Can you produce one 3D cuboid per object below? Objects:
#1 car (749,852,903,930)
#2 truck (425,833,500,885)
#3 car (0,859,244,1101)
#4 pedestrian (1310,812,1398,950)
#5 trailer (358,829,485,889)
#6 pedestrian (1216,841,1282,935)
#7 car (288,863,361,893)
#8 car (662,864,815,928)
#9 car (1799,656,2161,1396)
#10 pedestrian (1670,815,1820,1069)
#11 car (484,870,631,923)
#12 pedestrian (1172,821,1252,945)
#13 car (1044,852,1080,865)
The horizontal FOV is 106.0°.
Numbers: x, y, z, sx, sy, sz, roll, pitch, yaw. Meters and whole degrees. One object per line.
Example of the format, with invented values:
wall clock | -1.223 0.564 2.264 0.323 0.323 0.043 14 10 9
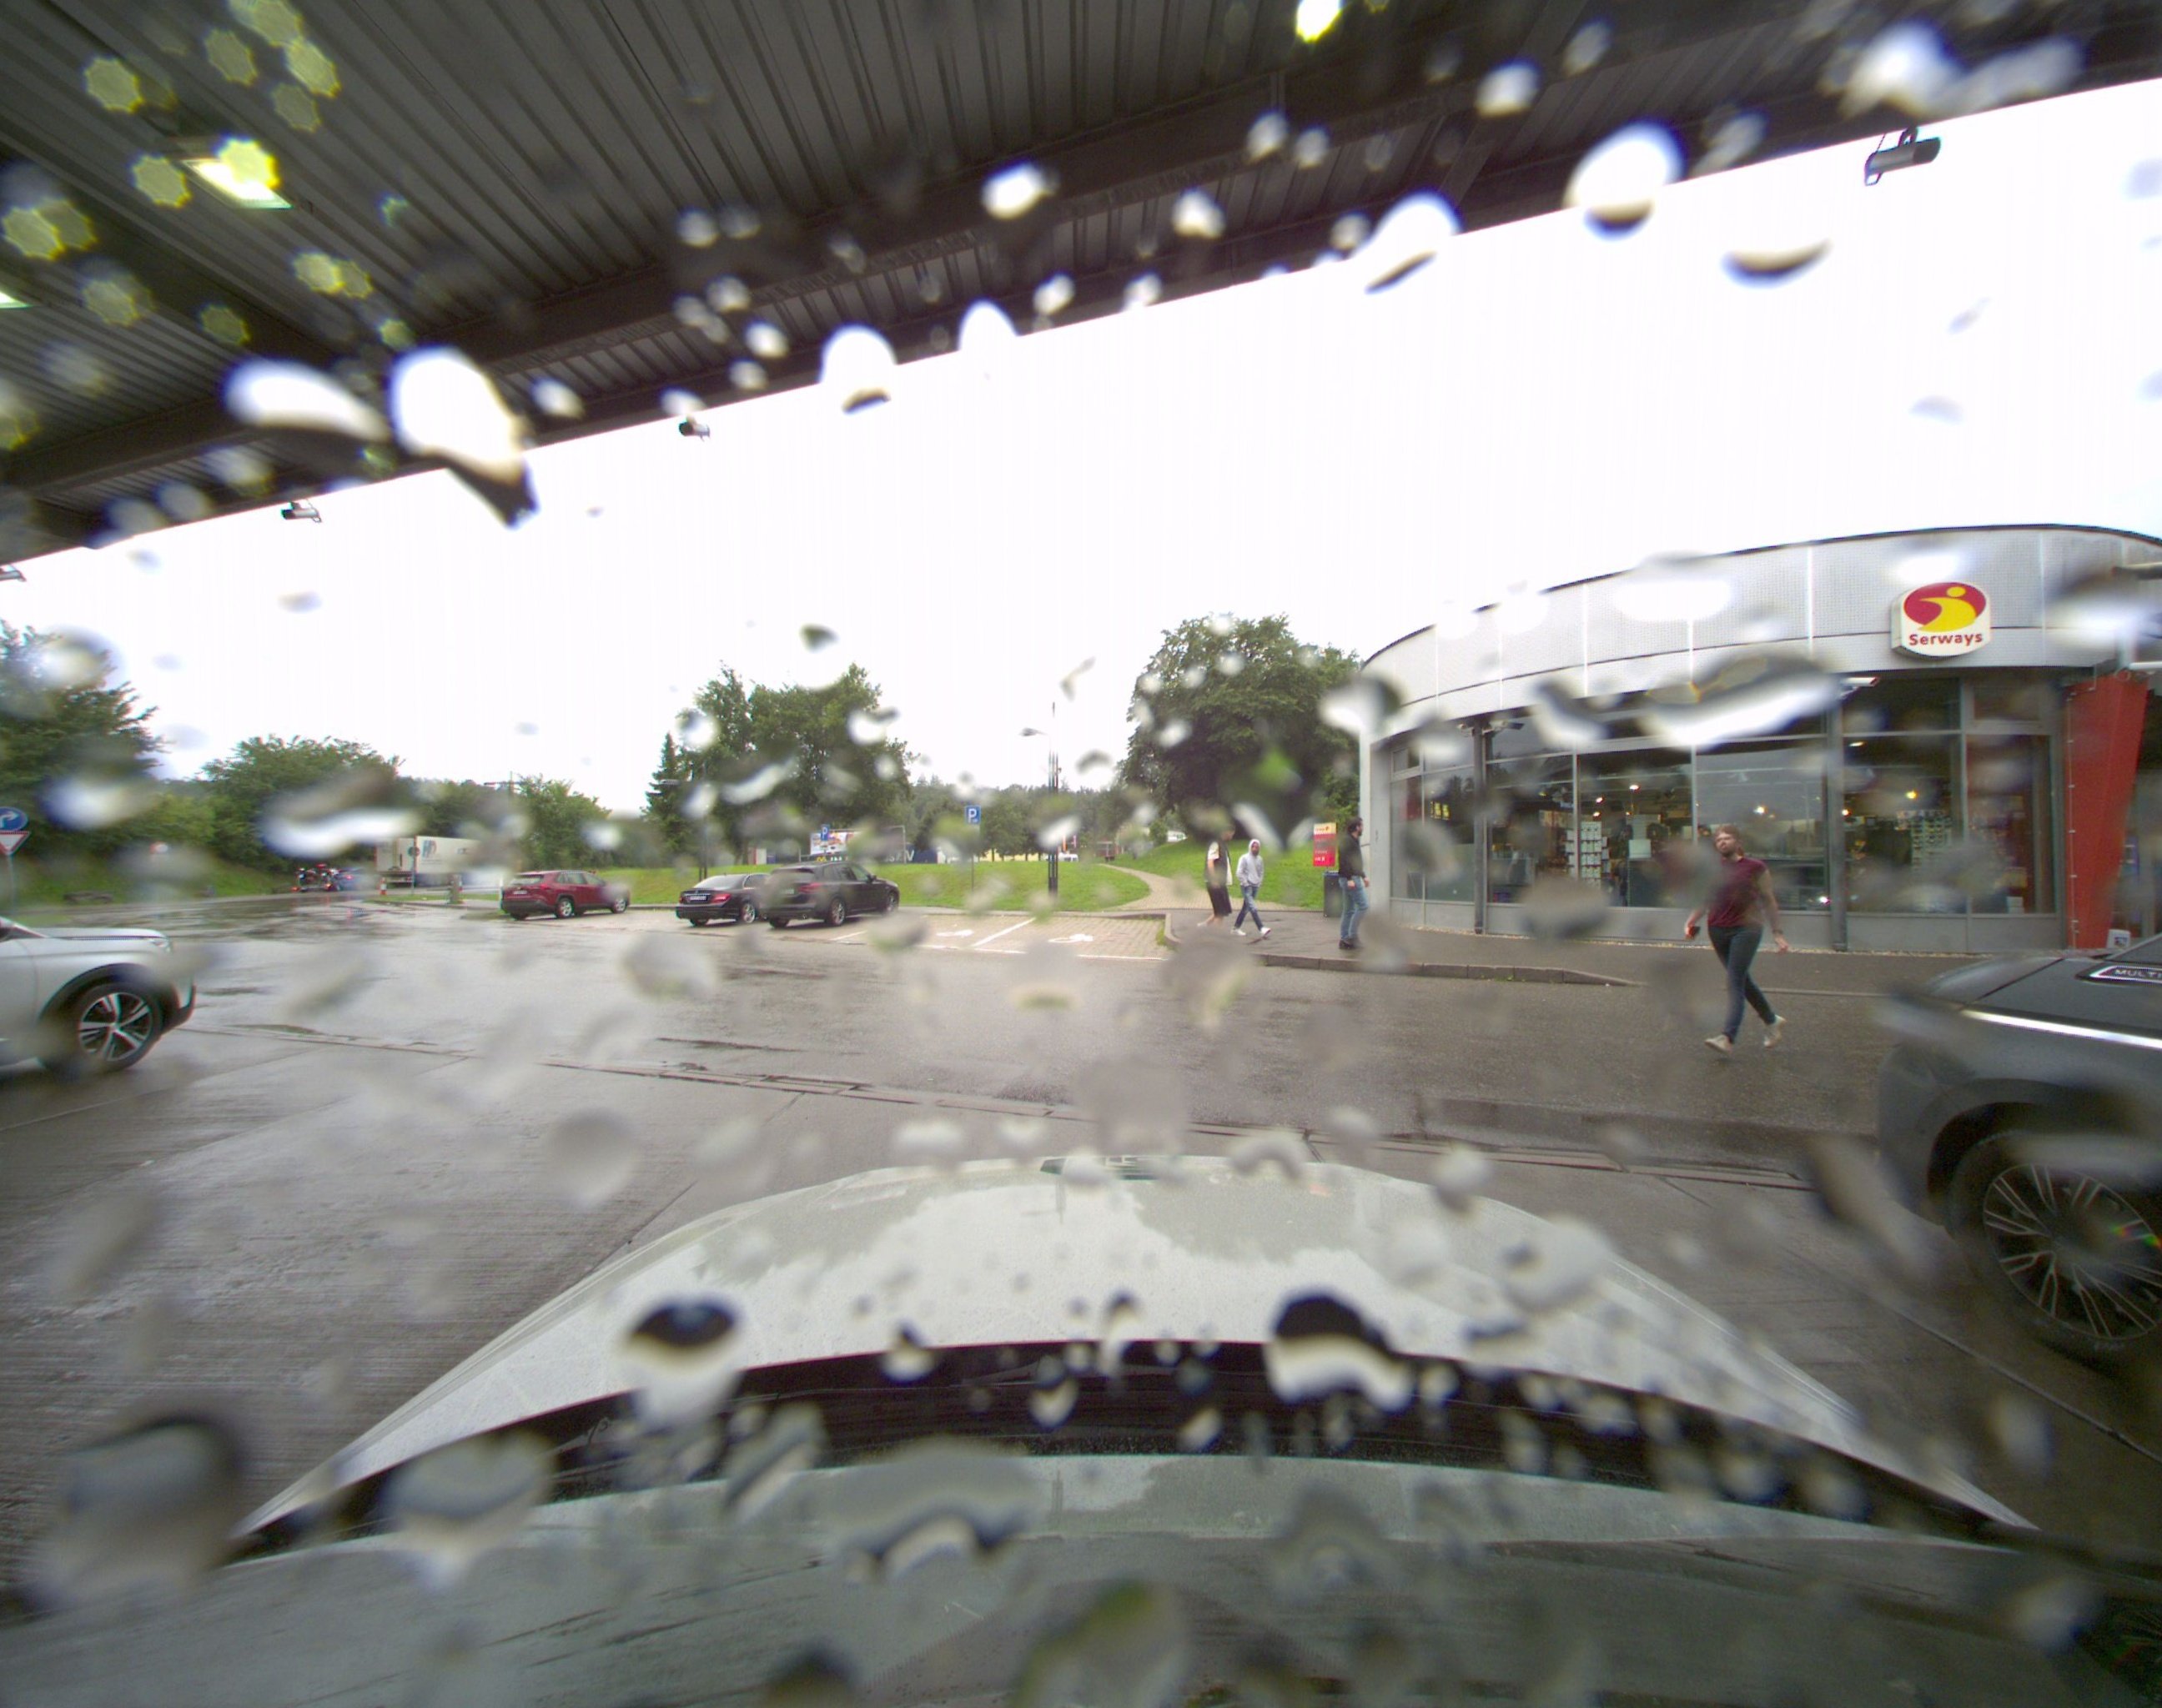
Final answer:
car | -6.619 0.887 21.740 1.871 1.828 4.429 -2 0 13
truck | -57.109 0.497 75.422 3.467 4.557 6.694 0 -1 -18
car | -7.896 0.830 4.349 1.810 1.565 4.999 0 0 -2
pedestrian | 3.913 0.372 11.653 0.989 1.864 0.804 -2 0 30
trailer | -54.887 0.424 68.482 3.466 4.557 13.827 0 -1 -18
pedestrian | 2.861 0.566 13.863 0.880 1.550 0.665 -2 0 31
car | -49.237 1.527 53.124 1.934 1.838 4.361 -1 0 -20
car | -9.620 1.137 23.297 1.871 1.565 4.200 -2 0 13
car | 3.712 0.446 1.229 1.809 1.948 4.002 -1 0 2
pedestrian | 4.970 0.608 6.149 0.786 1.734 0.845 -2 -1 37
car | -18.161 1.415 28.522 1.873 1.596 4.364 -2 0 8
pedestrian | 2.063 0.437 12.759 0.963 1.848 0.778 -2 0 30
car | -3.179 0.798 134.077 5.376 2.013 2.468 -1 0 21
